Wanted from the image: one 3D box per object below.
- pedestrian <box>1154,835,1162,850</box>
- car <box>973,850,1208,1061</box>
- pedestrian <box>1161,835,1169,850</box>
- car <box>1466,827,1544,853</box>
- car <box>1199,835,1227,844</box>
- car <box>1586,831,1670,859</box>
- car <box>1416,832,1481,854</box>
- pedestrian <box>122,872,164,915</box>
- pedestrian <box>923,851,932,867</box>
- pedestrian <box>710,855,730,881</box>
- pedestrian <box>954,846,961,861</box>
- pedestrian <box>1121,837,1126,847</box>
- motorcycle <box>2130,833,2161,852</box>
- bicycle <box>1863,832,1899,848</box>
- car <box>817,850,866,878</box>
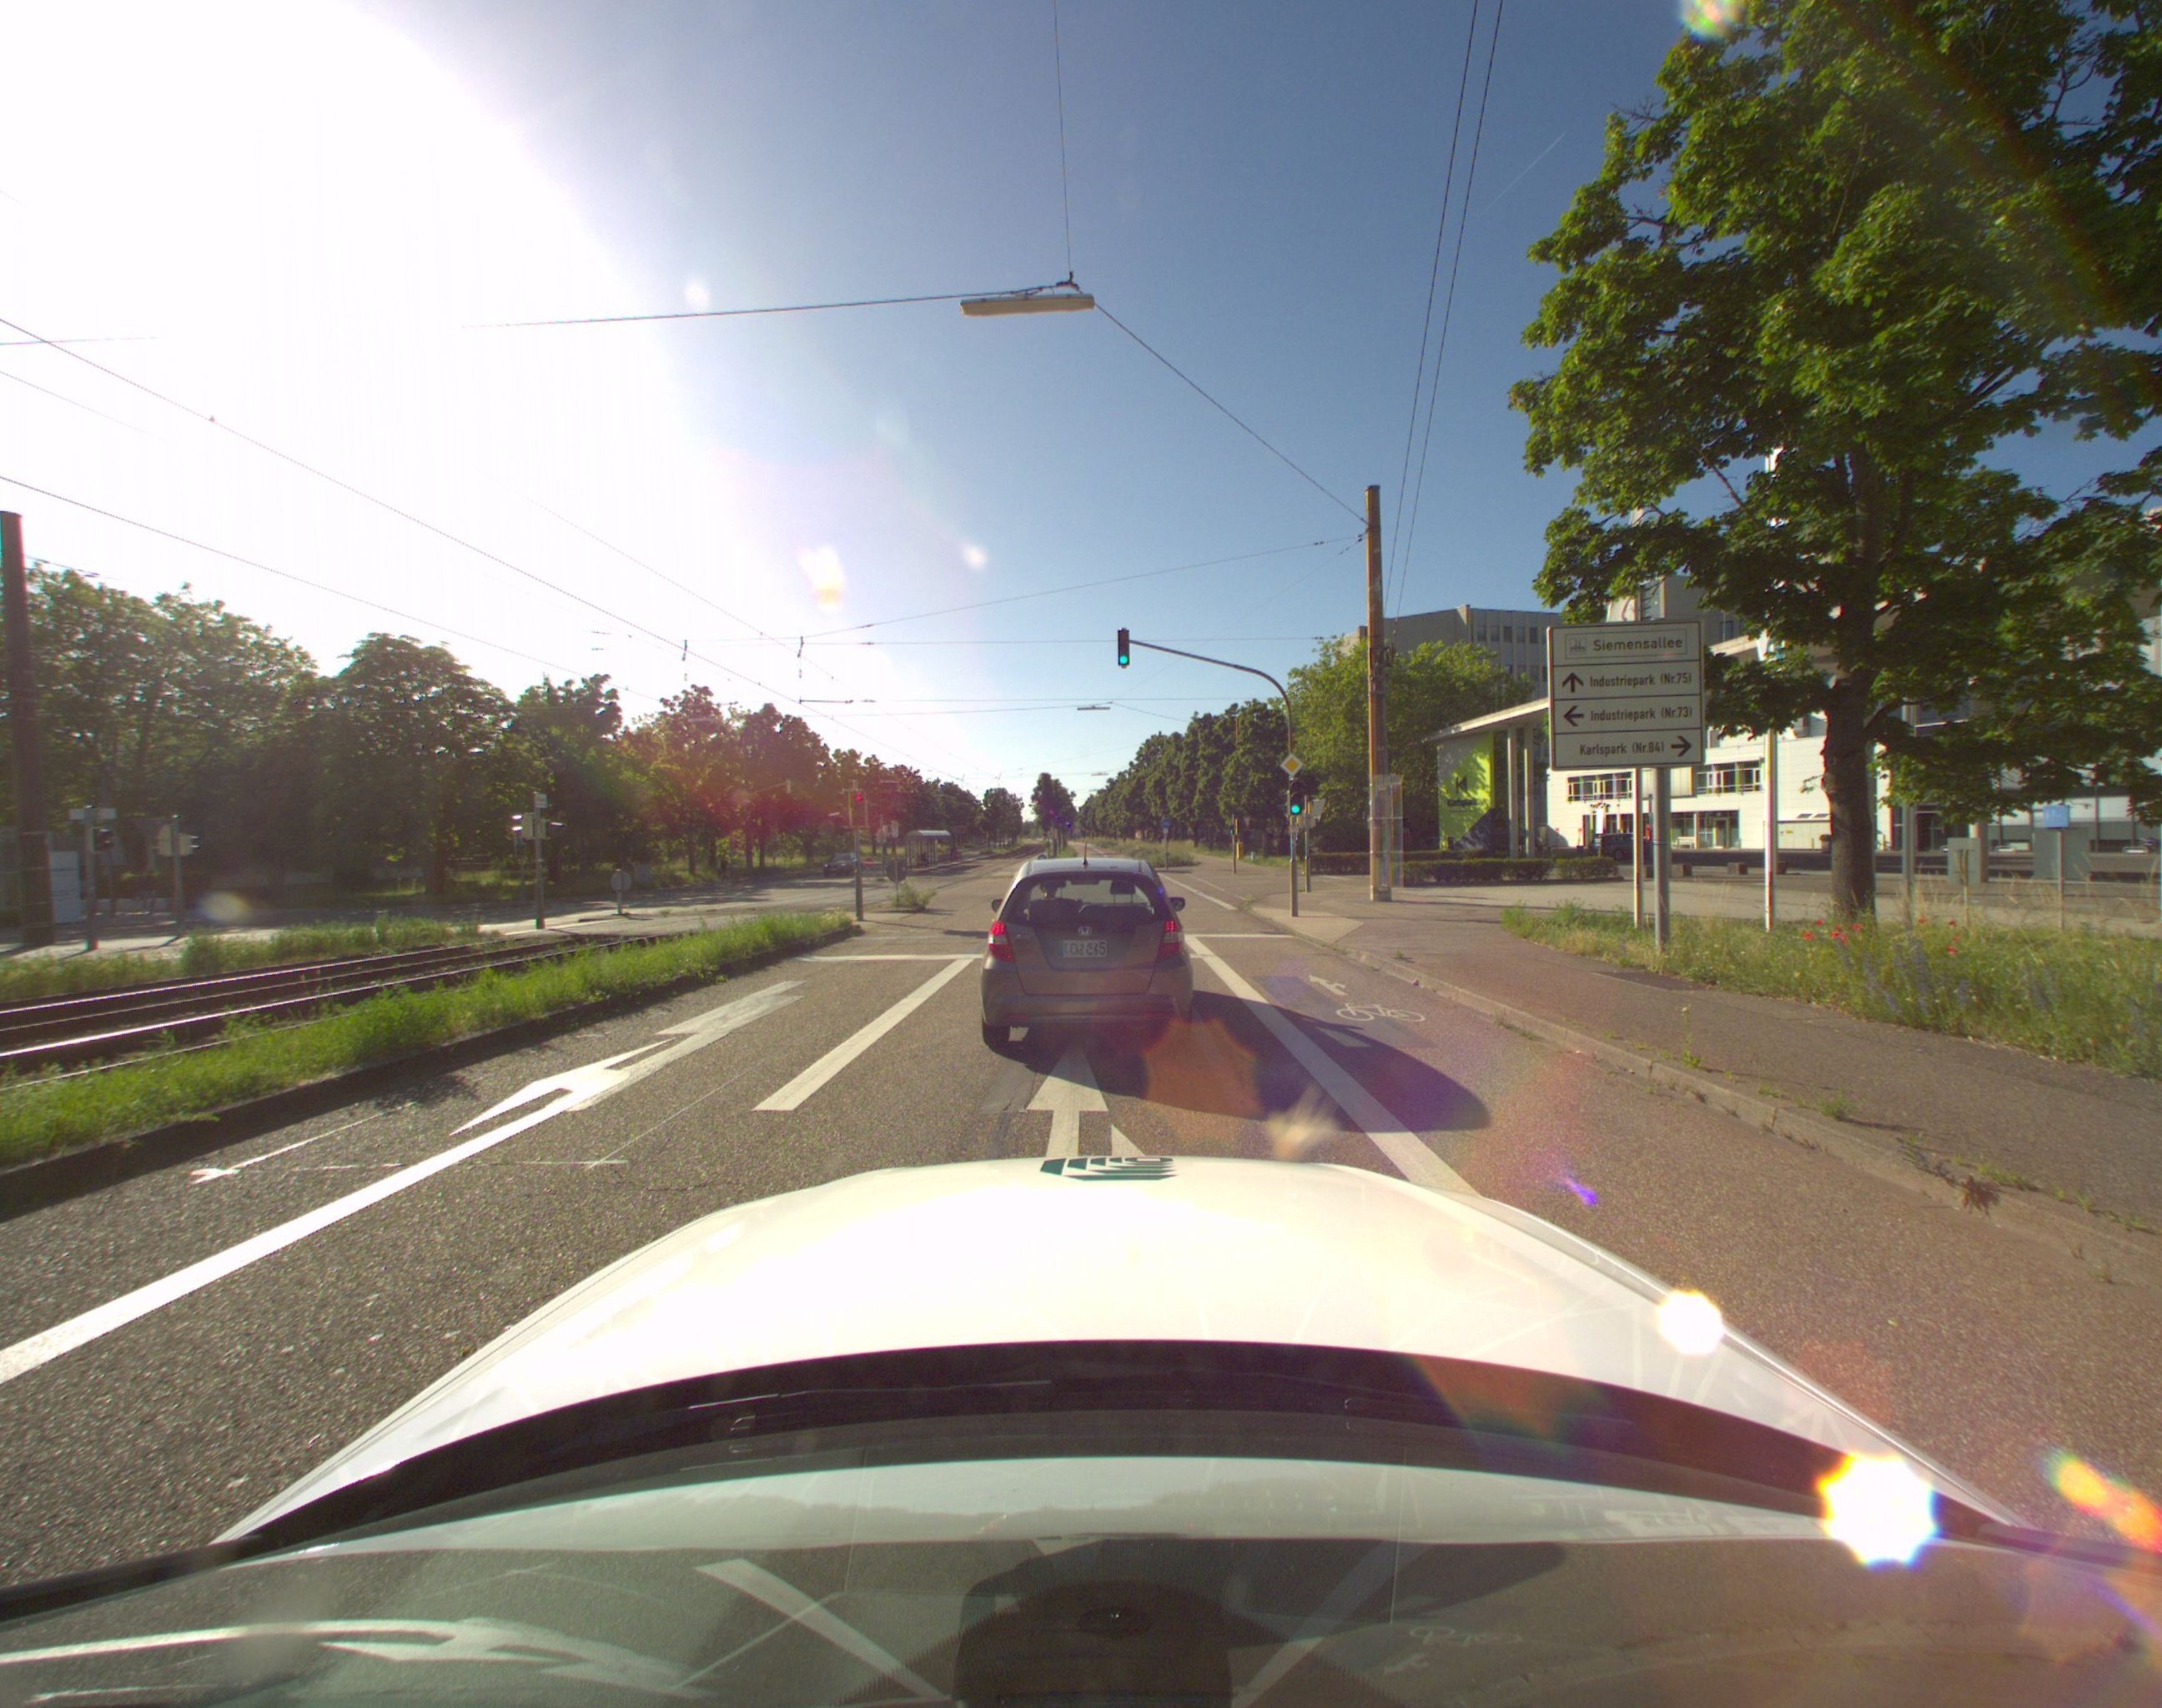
[{"bbox_3d":[9.785,-1.461,103.542,0.880,1.884,0.875,-2,1,-2],"label":"pedestrian"},{"bbox_3d":[0.128,0.746,7.813,1.694,1.524,3.711,-1,0,2],"label":"car"},{"bbox_3d":[10.702,-1.468,103.583,0.880,1.884,0.875,-2,1,-2],"label":"pedestrian"},{"bbox_3d":[31.111,-1.044,59.773,4.888,1.757,2.082,-2,1,-14],"label":"car"},{"bbox_3d":[23.365,-2.538,144.247,4.623,1.555,1.997,-2,1,-5],"label":"car"},{"bbox_3d":[33.323,-0.564,49.643,3.984,1.578,1.949,-1,0,-8],"label":"car"},{"bbox_3d":[30.049,-0.919,66.665,4.448,1.686,1.892,-2,1,-4],"label":"car"},{"bbox_3d":[-40.639,1.699,35.287,0.943,1.787,0.824,-2,1,15],"label":"pedestrian"},{"bbox_3d":[-12.441,0.384,66.011,0.562,1.257,0.581,-4,0,1],"label":"pedestrian"},{"bbox_3d":[-24.679,0.961,55.657,0.751,1.734,0.943,-1,1,30],"label":"pedestrian"},{"bbox_3d":[-12.262,-0.042,80.580,0.542,1.447,0.559,-2,0,1],"label":"pedestrian"},{"bbox_3d":[7.580,-2.114,145.624,0.723,1.690,0.821,-1,0,-1],"label":"pedestrian"},{"bbox_3d":[54.664,-0.584,41.258,0.652,0.947,1.727,-2,1,-13],"label":"motorcycle"},{"bbox_3d":[52.273,-0.895,53.245,0.565,1.004,1.614,-2,1,-13],"label":"bicycle"},{"bbox_3d":[-17.838,0.725,60.884,2.087,1.810,4.792,-3,1,0],"label":"car"}]
